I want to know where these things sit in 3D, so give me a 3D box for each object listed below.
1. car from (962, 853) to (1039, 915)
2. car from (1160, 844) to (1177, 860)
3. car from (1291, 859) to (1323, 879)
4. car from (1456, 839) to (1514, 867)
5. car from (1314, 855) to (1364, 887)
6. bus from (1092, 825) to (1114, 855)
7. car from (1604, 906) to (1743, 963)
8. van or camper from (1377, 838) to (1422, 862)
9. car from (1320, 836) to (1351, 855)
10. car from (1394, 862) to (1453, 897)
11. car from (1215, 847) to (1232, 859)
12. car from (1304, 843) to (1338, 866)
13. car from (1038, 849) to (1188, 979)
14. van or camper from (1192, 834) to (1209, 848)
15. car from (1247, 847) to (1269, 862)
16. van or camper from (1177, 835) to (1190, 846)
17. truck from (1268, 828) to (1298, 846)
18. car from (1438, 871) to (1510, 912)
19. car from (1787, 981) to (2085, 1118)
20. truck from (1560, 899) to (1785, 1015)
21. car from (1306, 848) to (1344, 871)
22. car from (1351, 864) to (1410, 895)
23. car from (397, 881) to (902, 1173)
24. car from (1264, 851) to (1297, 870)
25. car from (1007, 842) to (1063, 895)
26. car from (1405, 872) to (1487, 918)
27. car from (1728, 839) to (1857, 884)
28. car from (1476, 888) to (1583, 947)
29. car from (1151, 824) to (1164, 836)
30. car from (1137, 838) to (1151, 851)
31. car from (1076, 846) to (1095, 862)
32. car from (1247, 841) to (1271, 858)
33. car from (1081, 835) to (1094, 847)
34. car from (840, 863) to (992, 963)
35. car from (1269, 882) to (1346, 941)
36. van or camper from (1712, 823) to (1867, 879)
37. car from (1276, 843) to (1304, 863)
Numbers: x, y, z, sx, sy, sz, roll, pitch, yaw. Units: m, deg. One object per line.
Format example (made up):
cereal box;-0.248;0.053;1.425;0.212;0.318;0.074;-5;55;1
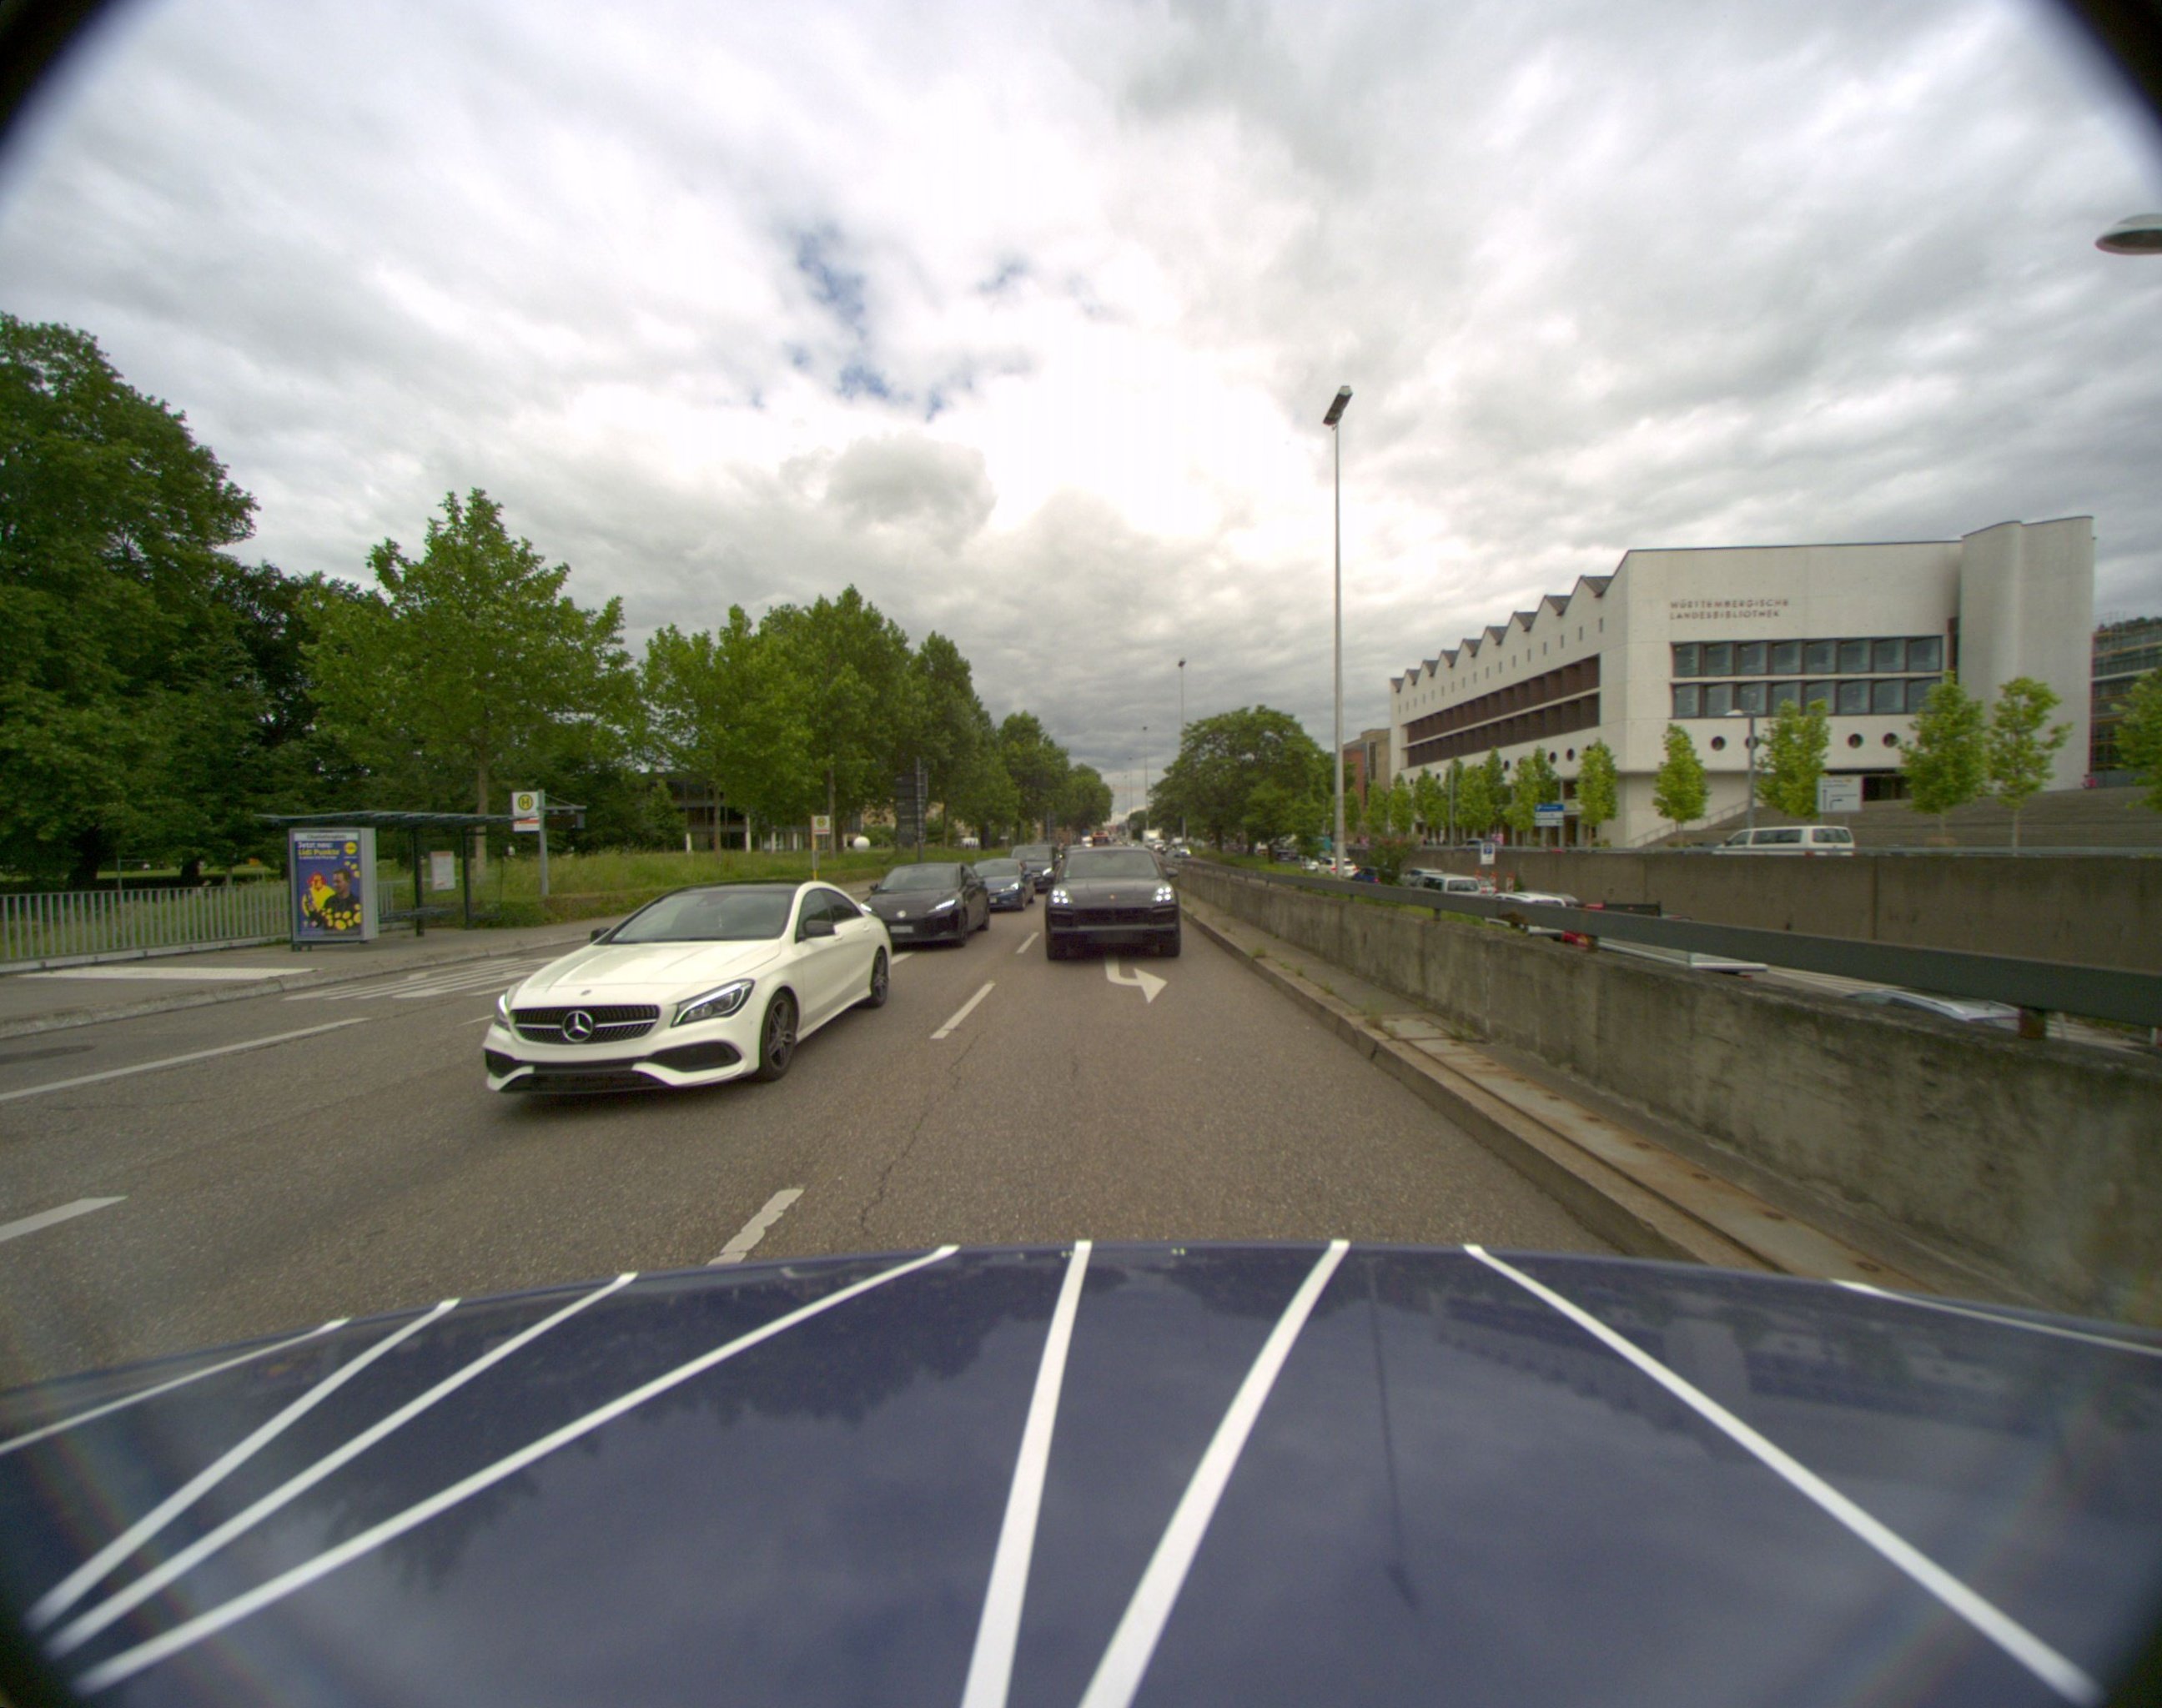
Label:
car;-2.202;0.785;21.747;1.573;1.528;4.001;-2;1;3
car;11.978;-0.309;103.912;1.998;2.002;3.999;0;2;2
car;18.449;1.219;62.104;1.674;1.477;3.361;0;1;1
car;28.221;-0.037;53.262;1.998;1.805;4.001;-2;0;1
car;18.537;1.202;54.906;1.998;2.119;4.852;2;0;1
bus;3.213;-2.061;113.840;3.043;4.327;8.749;-2;1;0
car;21.493;2.882;27.799;1.998;1.543;4.000;-2;1;1
van or camper;28.439;-0.305;68.001;1.999;2.002;4.557;-2;0;-1
car;28.122;-0.918;84.056;1.998;2.002;3.999;-2;1;0
car;21.702;1.574;48.311;1.998;2.002;4.000;2;0;1
car;18.766;-0.104;100.247;1.674;1.477;3.362;-2;0;1
car;22.325;0.018;70.824;1.998;2.002;4.000;2;0;1
car;0.487;0.799;12.409;1.937;1.668;4.680;-2;0;2
van or camper;18.500;-2.046;117.425;2.036;2.002;4.000;-2;0;1
car;19.310;0.039;82.977;1.674;1.477;3.362;-2;0;1
van or camper;20.313;-2.678;150.457;2.036;2.002;4.000;-2;0;1
truck;26.496;-2.141;99.706;2.002;2.145;5.617;-2;0;-5
car;21.747;2.027;42.228;1.998;2.002;4.000;2;0;1
car;17.477;3.903;15.873;1.794;1.805;3.928;-2;0;1
truck;17.624;2.930;23.230;2.324;2.675;5.979;-2;0;2
car;22.073;0.487;68.821;1.998;2.002;4.655;-2;0;1
car;18.304;1.515;46.665;1.998;1.733;4.282;2;0;1
car;-3.003;1.077;6.609;1.723;1.415;4.505;-2;1;1
car;18.453;0.553;70.382;1.998;1.650;4.000;-2;0;1
car;-1.708;0.504;29.450;1.723;1.851;4.430;-2;1;2
car;18.016;1.978;37.719;1.998;2.002;4.333;2;0;1
car;31.585;0.323;33.912;1.998;1.805;4.001;-2;0;1
car;18.066;2.484;30.839;1.998;2.002;4.000;2;0;1
car;13.856;-4.279;138.074;1.997;2.002;4.002;-2;1;10
car;9.821;-1.480;119.129;1.998;2.002;4.000;-1;0;1
car;0.444;0.029;71.539;1.565;1.409;3.620;-2;0;2
car;22.012;-0.487;94.153;1.998;2.002;4.000;2;0;1
car;1.203;-2.328;136.872;1.999;2.002;3.998;-3;1;-3
car;-2.903;0.972;14.312;1.829;1.515;4.120;-2;0;2
car;9.234;2.299;31.260;1.998;2.002;4.000;-2;1;1
van or camper;28.255;-0.094;30.541;1.998;2.002;4.557;-2;0;2
car;22.351;-0.072;81.457;1.998;2.002;4.000;2;0;1
